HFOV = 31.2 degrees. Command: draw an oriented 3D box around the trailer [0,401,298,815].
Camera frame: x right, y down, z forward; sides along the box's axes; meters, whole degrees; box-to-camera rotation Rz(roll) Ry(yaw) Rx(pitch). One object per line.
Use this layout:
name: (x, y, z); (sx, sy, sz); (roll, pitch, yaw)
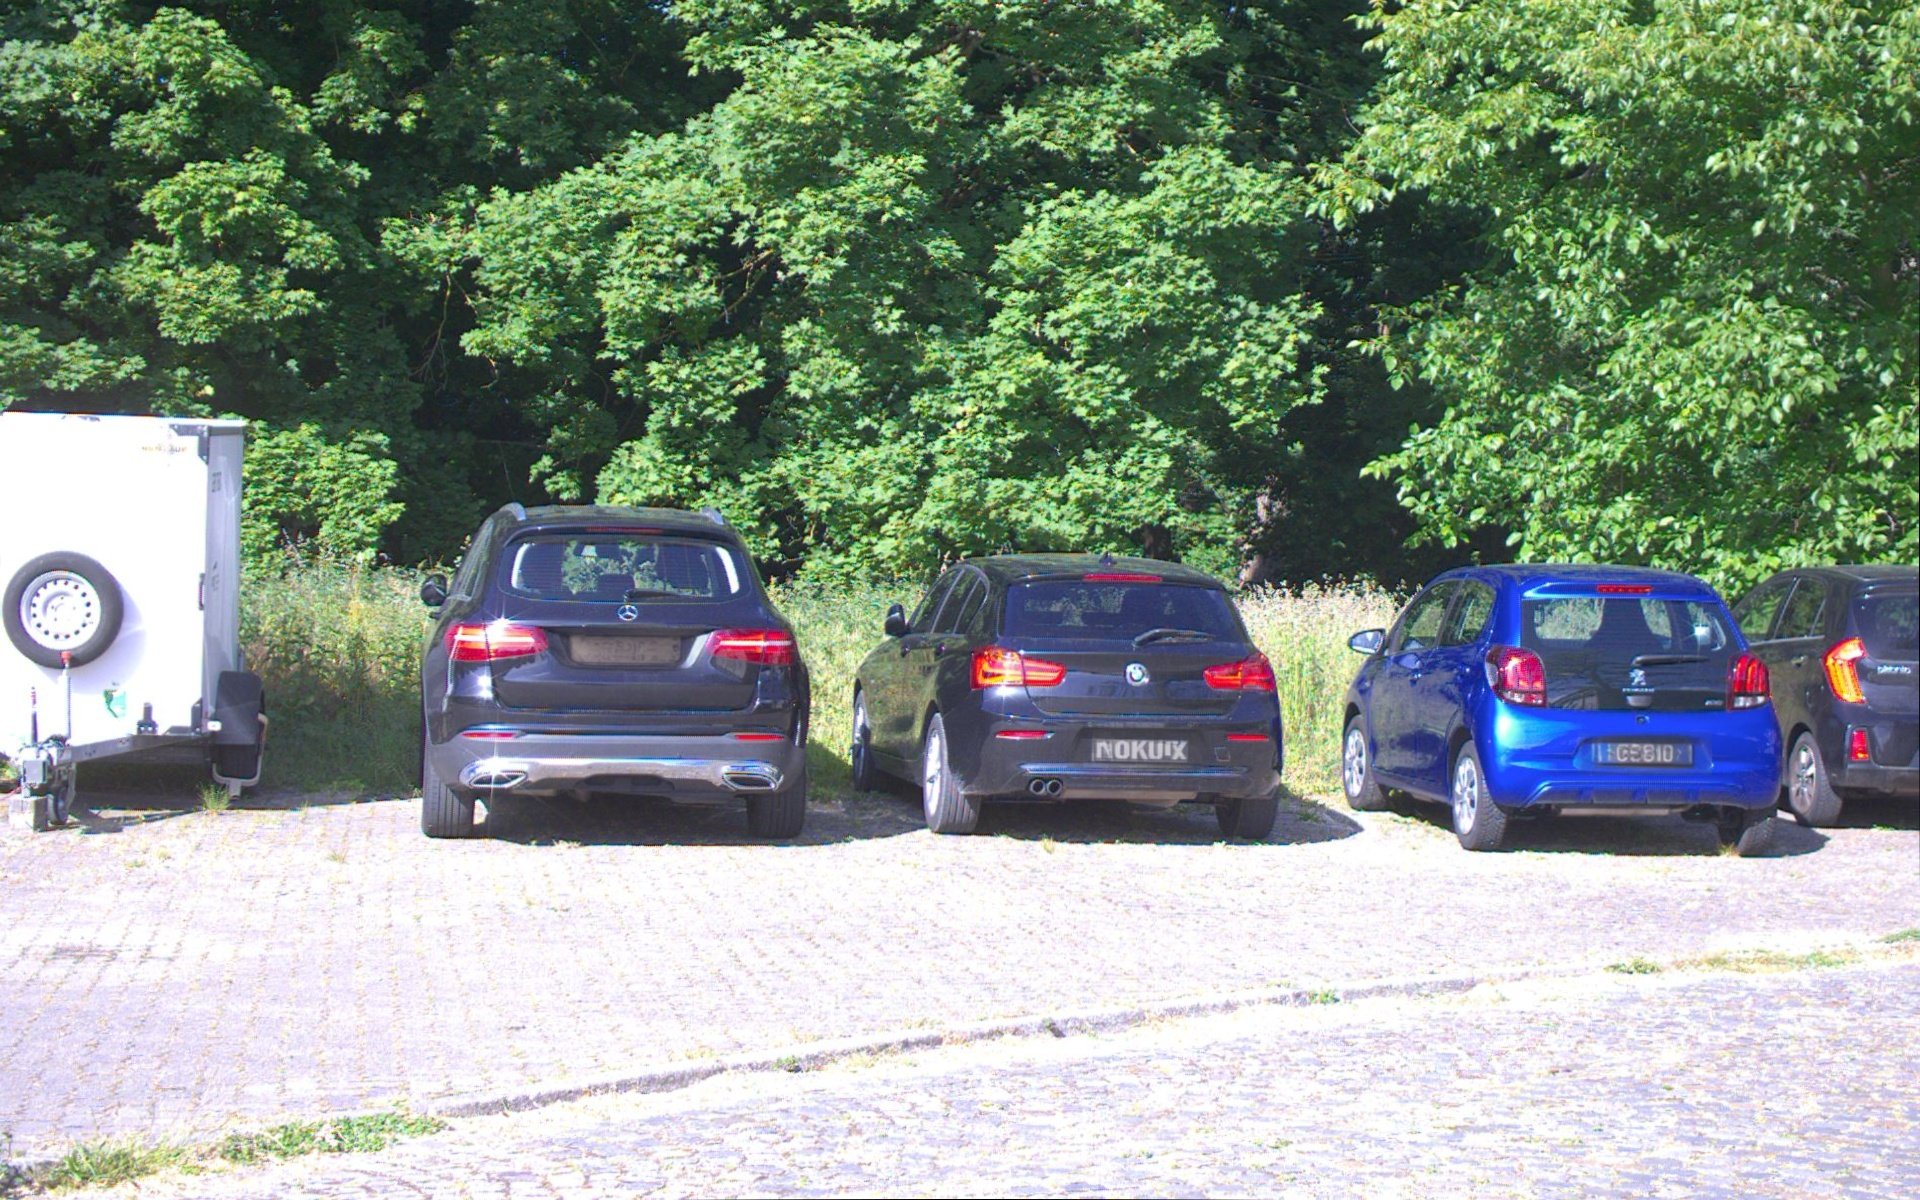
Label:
trailer: (-4.635, -0.004, 18.637); (1.818, 2.043, 2.851); (2, 1, -7)

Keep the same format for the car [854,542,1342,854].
car: (0.617, 0.449, 18.485); (1.888, 1.406, 3.791); (2, 2, -9)

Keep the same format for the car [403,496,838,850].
car: (-1.875, 0.286, 17.971); (1.963, 1.584, 4.132); (2, 2, -9)

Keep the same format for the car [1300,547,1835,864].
car: (3.208, 0.502, 18.939); (1.779, 1.453, 3.791); (2, 2, -8)

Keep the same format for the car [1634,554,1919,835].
car: (5.397, 0.509, 20.629); (1.738, 1.446, 3.725); (2, 2, -3)
